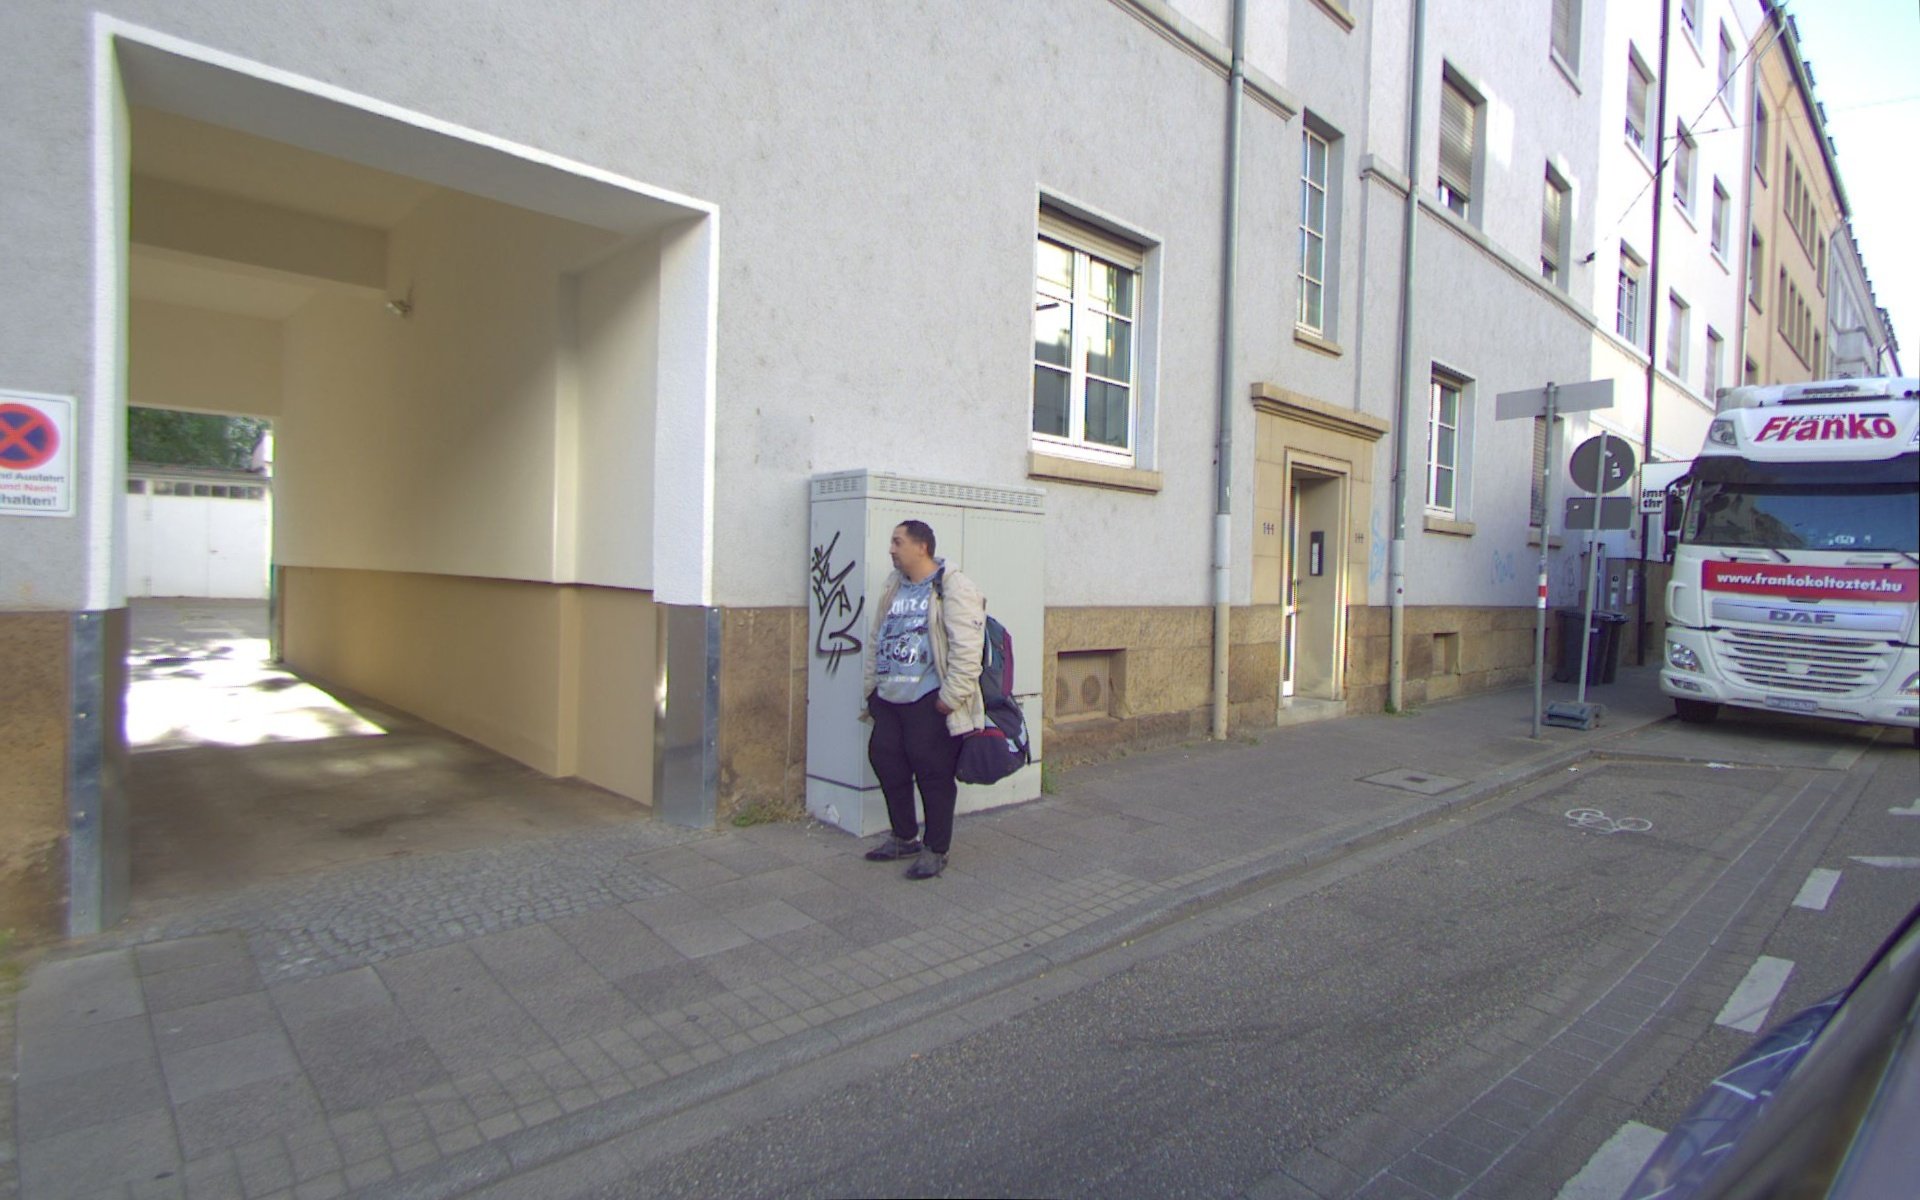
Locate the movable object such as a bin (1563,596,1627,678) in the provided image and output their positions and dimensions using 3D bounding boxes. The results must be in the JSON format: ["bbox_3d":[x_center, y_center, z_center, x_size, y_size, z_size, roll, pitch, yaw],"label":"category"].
[{"bbox_3d":[9.153,0.515,14.589,0.658,1.118,0.533,2,2,44],"label":"movable object such as a bin"}]

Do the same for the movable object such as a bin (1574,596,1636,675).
[{"bbox_3d":[9.563,0.509,15.003,0.658,1.118,0.533,2,2,44],"label":"movable object such as a bin"}]

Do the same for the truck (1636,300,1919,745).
[{"bbox_3d":[12.647,-0.760,13.875,11.578,4.123,2.864,0,2,-43],"label":"truck"}]

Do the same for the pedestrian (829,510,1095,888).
[{"bbox_3d":[0.002,0.383,4.743,0.854,1.552,0.827,0,3,-42],"label":"pedestrian"}]
